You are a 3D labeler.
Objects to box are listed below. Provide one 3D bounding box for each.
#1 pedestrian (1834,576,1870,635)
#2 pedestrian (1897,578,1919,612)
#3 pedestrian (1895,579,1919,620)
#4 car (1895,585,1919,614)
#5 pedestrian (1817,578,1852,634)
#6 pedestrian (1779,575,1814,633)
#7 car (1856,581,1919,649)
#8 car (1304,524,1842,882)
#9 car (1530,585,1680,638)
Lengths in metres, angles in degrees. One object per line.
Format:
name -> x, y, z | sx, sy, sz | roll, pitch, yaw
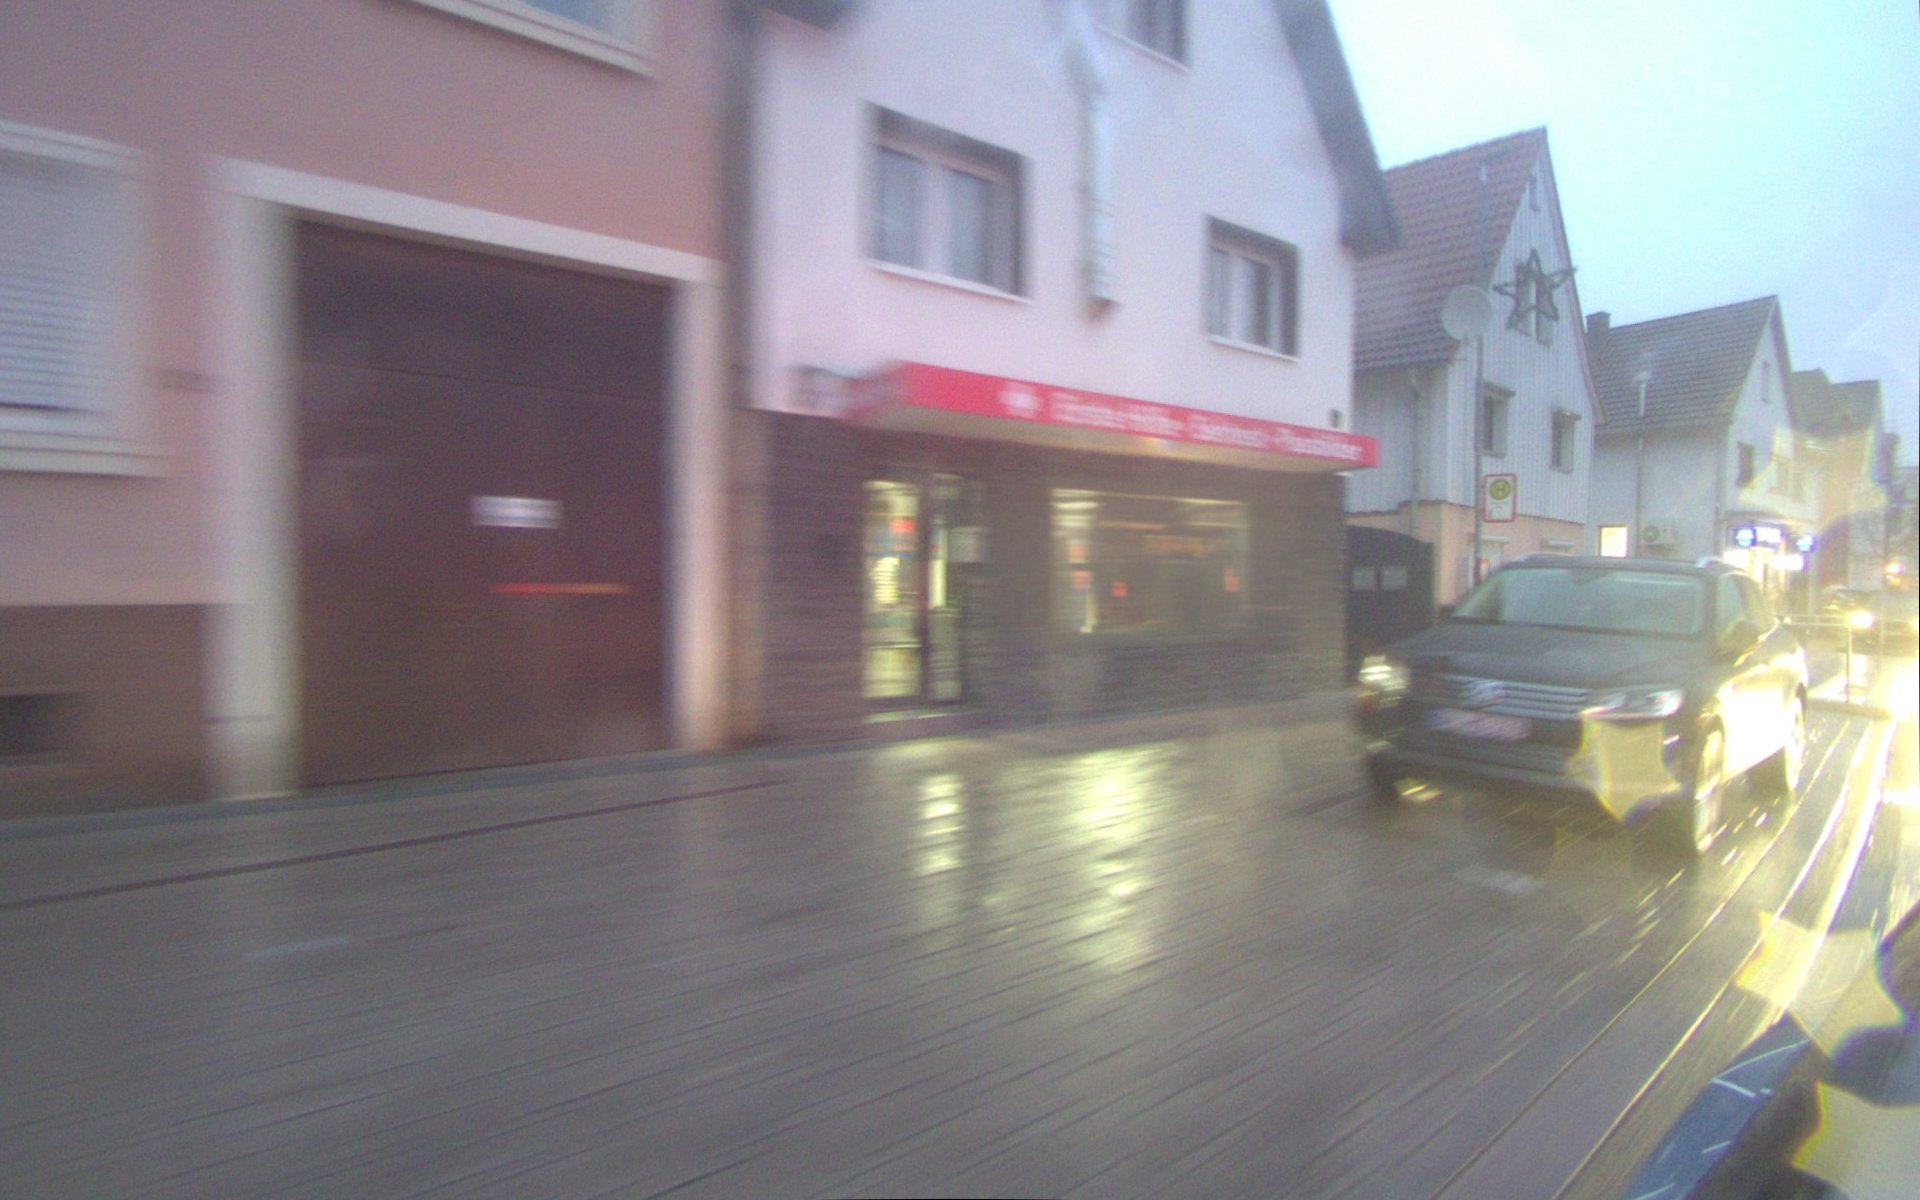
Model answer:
pedestrian -> 27.113, 0.153, 30.760 | 0.459, 1.742, 0.651 | 2, 2, -37
pedestrian -> 46.308, -0.260, 49.454 | 0.710, 1.625, 0.656 | 1, 1, -40
pedestrian -> 42.098, -0.019, 44.881 | 1.042, 1.786, 0.818 | 1, 2, -43
car -> 64.551, -0.021, 68.274 | 1.773, 1.838, 3.945 | 3, 2, 38
pedestrian -> 29.079, 0.205, 33.658 | 0.498, 1.819, 0.651 | 2, 2, -31
pedestrian -> 25.925, 0.119, 31.354 | 0.638, 1.742, 0.609 | 2, 2, -37
car -> 27.322, 0.417, 29.041 | 4.444, 1.806, 1.996 | 0, 2, -43
car -> 4.415, 0.447, 6.971 | 4.384, 1.681, 1.977 | 0, 2, -42
car -> 20.039, 0.322, 31.584 | 1.627, 1.403, 3.566 | 1, 2, -31
